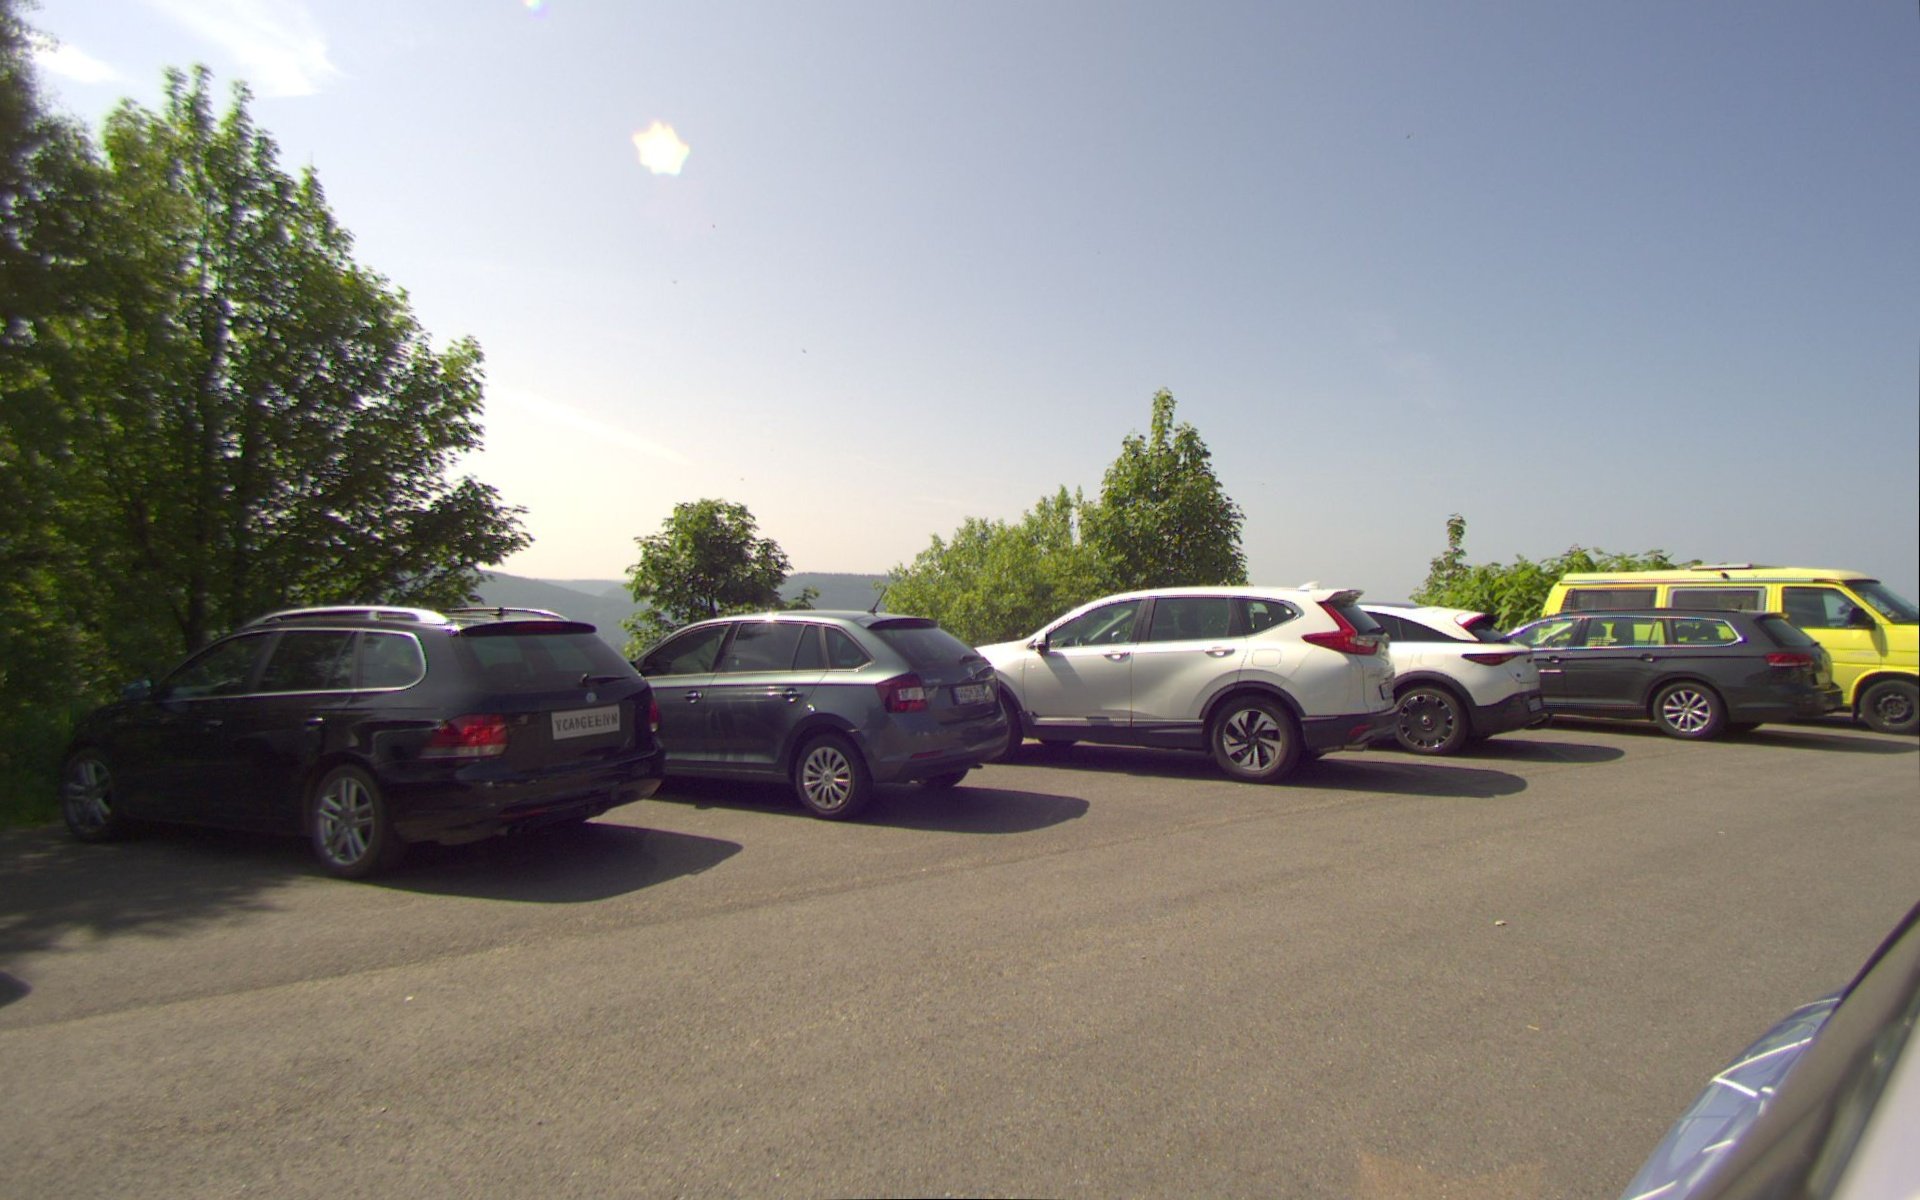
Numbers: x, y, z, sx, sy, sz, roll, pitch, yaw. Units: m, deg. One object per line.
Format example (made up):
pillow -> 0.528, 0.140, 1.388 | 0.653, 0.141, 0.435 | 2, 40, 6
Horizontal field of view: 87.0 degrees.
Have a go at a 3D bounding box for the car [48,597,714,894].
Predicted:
car -> -3.849, 0.777, 6.745 | 4.007, 1.480, 1.879 | -2, -1, 24

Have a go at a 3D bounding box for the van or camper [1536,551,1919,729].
van or camper -> 10.798, 0.513, 13.508 | 1.845, 2.040, 5.107 | 1, -2, -33

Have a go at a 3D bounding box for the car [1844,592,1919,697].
car -> 16.395, 0.700, 15.618 | 1.884, 1.634, 3.991 | 1, -1, -43

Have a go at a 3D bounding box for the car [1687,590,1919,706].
car -> 13.585, 0.679, 15.079 | 1.672, 1.609, 4.164 | 1, -1, -34

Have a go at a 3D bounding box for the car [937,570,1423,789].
car -> 2.018, 0.657, 9.676 | 4.153, 1.671, 1.870 | -2, -1, 33

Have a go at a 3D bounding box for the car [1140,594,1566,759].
car -> 4.293, 0.704, 11.379 | 4.081, 1.519, 1.915 | 0, 0, 41

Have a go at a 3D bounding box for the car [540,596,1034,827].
car -> -1.456, 0.763, 8.173 | 3.773, 1.478, 1.645 | -2, -2, 30

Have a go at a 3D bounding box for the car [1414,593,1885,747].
car -> 8.060, 0.760, 12.263 | 1.778, 1.507, 4.362 | 1, -2, -36

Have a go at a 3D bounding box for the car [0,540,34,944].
car -> -6.285, 0.617, 4.066 | 4.166, 1.716, 1.855 | -1, -1, 15

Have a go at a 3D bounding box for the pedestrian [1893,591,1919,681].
pedestrian -> 20.878, 0.776, 22.110 | 0.667, 1.924, 0.609 | 1, -2, -39
